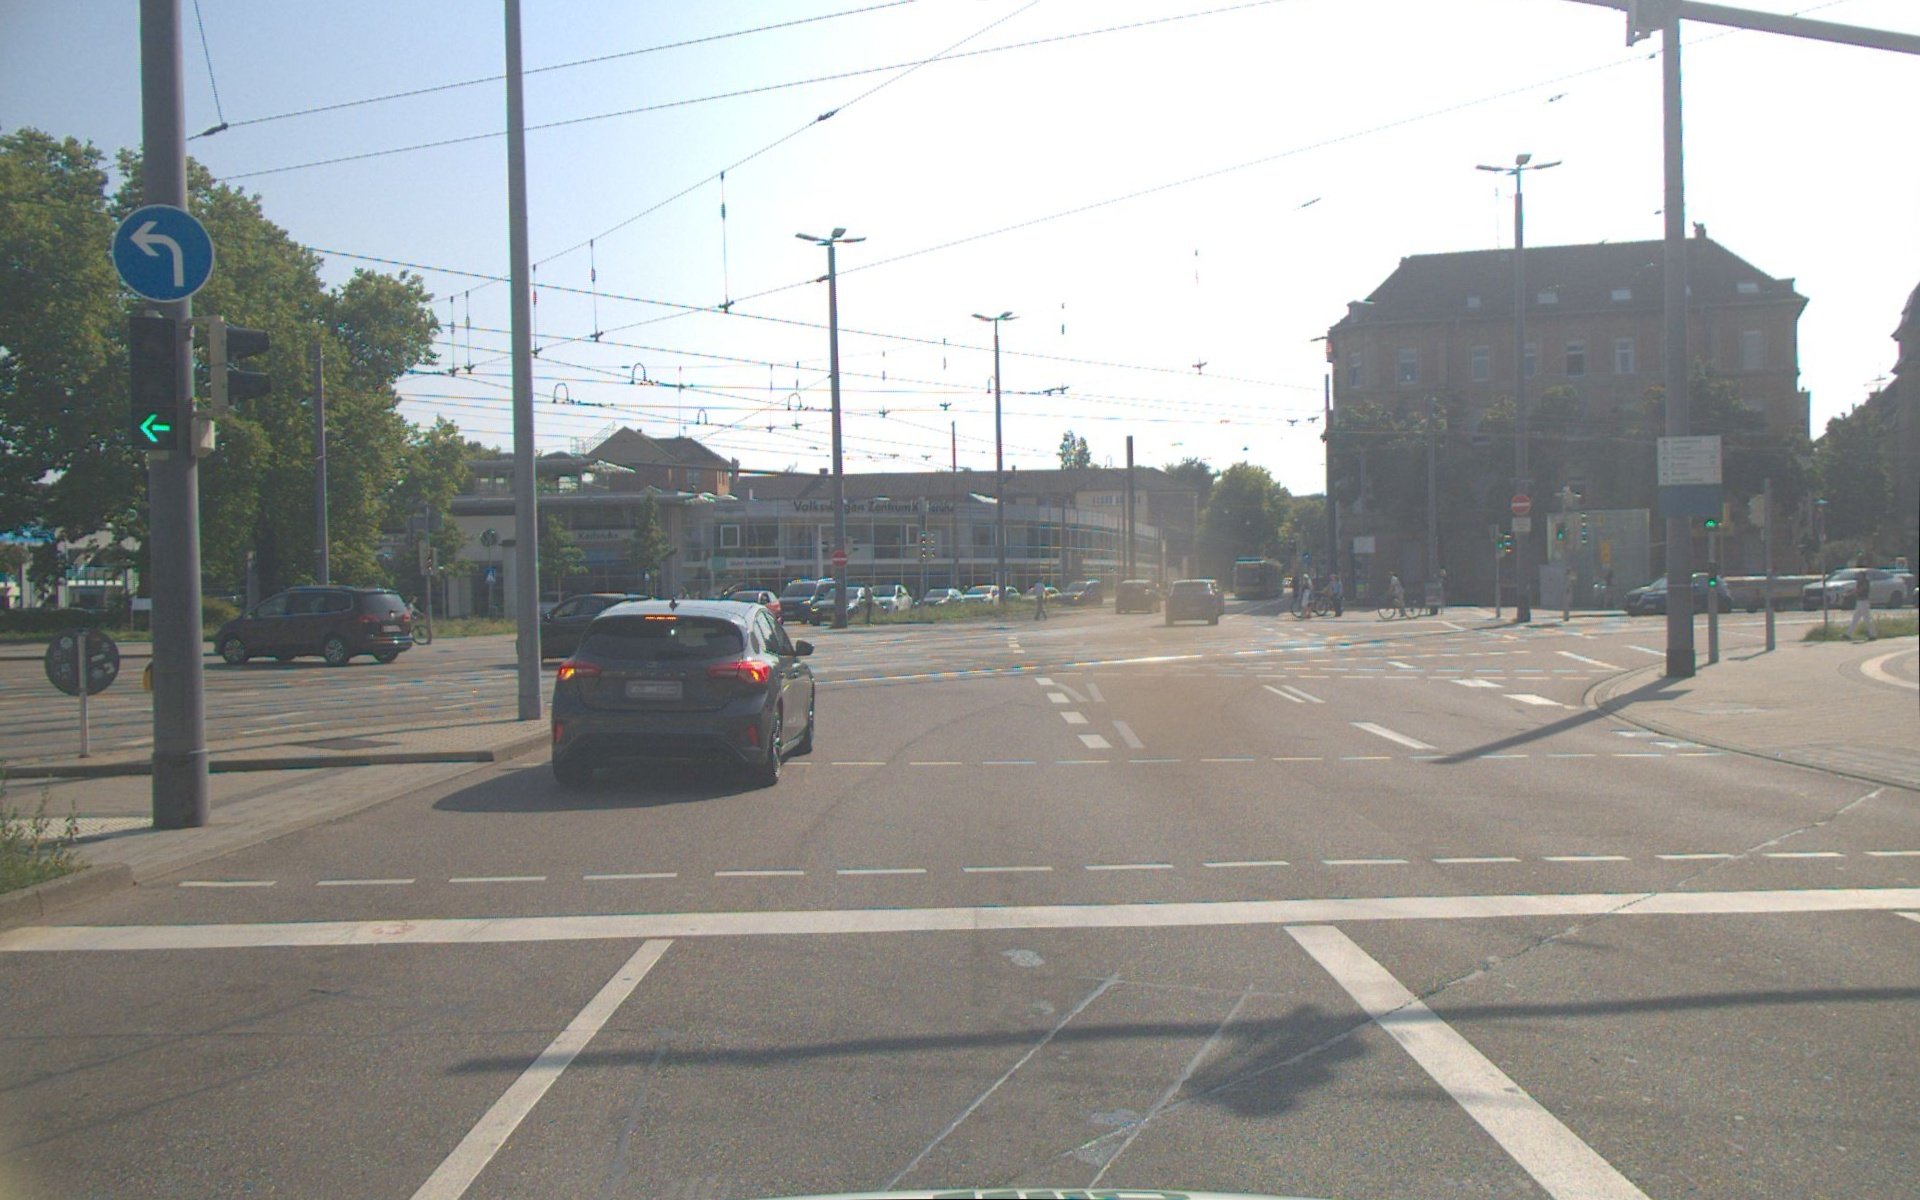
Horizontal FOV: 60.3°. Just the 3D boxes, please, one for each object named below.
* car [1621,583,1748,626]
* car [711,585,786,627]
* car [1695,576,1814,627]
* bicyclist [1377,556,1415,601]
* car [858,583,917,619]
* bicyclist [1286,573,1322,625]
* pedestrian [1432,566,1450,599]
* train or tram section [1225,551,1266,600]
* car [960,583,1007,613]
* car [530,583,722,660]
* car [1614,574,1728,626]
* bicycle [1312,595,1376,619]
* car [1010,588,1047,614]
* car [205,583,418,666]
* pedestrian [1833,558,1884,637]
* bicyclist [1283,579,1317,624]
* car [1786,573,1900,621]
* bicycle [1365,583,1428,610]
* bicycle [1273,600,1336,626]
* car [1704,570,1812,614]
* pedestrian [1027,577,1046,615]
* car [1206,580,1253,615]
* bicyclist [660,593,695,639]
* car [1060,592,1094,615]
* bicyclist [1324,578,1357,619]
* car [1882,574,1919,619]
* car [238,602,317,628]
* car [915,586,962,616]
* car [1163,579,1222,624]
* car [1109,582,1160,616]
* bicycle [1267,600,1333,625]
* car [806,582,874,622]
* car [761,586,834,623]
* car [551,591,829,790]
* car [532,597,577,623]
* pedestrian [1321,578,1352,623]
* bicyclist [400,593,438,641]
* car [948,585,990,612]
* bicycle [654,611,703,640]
[{"bbox_3d":[25.751,0.149,58.783,4.328,1.421,2.003,-1,0,-30],"label":"car"},{"bbox_3d":[-8.223,0.215,64.612,1.580,1.501,4.004,-3,0,13],"label":"car"},{"bbox_3d":[31.274,0.045,65.095,4.641,1.891,1.892,-1,0,-28],"label":"car"},{"bbox_3d":[17.053,-0.838,64.675,0.928,1.738,1.077,-1,0,-39],"label":"bicyclist"},{"bbox_3d":[-3.191,0.024,73.374,1.580,1.501,4.004,-3,0,13],"label":"car"},{"bbox_3d":[13.826,-0.032,66.535,0.928,2.059,1.077,-1,0,-39],"label":"bicyclist"},{"bbox_3d":[21.802,-0.783,74.996,0.537,1.496,0.664,-1,0,43],"label":"pedestrian"},{"bbox_3d":[23.134,-1.966,133.605,2.598,3.763,10.599,-1,1,13],"label":"train or tram section"},{"bbox_3d":[1.296,-0.129,88.727,1.580,1.501,4.003,-3,0,14],"label":"car"},{"bbox_3d":[-7.134,0.444,35.106,4.290,1.518,1.680,-1,0,40],"label":"car"},{"bbox_3d":[27.086,-0.023,62.952,4.192,1.891,1.891,-1,0,-30],"label":"car"},{"bbox_3d":[16.373,0.299,70.516,2.586,0.981,1.084,-1,1,-27],"label":"bicycle"},{"bbox_3d":[4.357,0.038,104.826,1.580,1.501,4.003,-3,0,14],"label":"car"},{"bbox_3d":[-14.682,0.549,37.492,4.306,1.744,1.832,-1,1,19],"label":"car"},{"bbox_3d":[19.858,-0.062,36.565,0.904,1.719,0.835,-1,0,35],"label":"pedestrian"},{"bbox_3d":[14.150,0.073,68.841,0.922,1.831,1.084,-1,0,-26],"label":"bicyclist"},{"bbox_3d":[36.007,-0.134,67.423,4.601,1.891,2.025,-1,0,-30],"label":"car"},{"bbox_3d":[17.084,-0.133,64.703,2.602,0.981,1.077,-1,1,-40],"label":"bicycle"},{"bbox_3d":[13.870,0.521,66.563,2.602,0.981,1.077,-1,1,-40],"label":"bicycle"},{"bbox_3d":[35.075,-0.359,72.705,4.199,1.891,1.919,-1,0,-21],"label":"car"},{"bbox_3d":[3.138,-0.175,67.806,0.761,1.529,0.710,-1,0,2],"label":"pedestrian"},{"bbox_3d":[11.907,-0.141,72.912,1.786,1.453,4.416,-1,1,12],"label":"car"},{"bbox_3d":[-10.981,0.616,64.305,0.937,1.779,1.167,-1,0,14],"label":"bicyclist"},{"bbox_3d":[7.938,0.222,112.303,1.580,1.501,4.003,-3,0,14],"label":"car"},{"bbox_3d":[16.199,-0.071,70.421,0.922,1.709,1.084,-1,0,-26],"label":"bicyclist"},{"bbox_3d":[41.647,-0.168,70.854,4.192,1.891,1.891,-1,0,-30],"label":"car"},{"bbox_3d":[-42.575,0.935,103.294,1.667,1.549,4.508,-1,0,29],"label":"car"},{"bbox_3d":[-1.174,0.028,90.672,1.580,1.501,4.003,-3,0,14],"label":"car"},{"bbox_3d":[8.145,0.029,57.612,1.786,1.453,4.416,-1,1,11],"label":"car"},{"bbox_3d":[8.505,-0.054,80.369,1.786,1.562,4.416,-1,1,14],"label":"car"},{"bbox_3d":[14.170,0.501,68.852,2.586,0.981,1.084,-1,1,-27],"label":"bicycle"},{"bbox_3d":[-4.826,0.059,66.957,1.580,1.501,4.004,-3,0,13],"label":"car"},{"bbox_3d":[-7.016,0.179,71.854,1.919,1.501,4.004,-3,0,13],"label":"car"},{"bbox_3d":[-2.193,0.663,14.624,1.795,1.460,4.549,-1,0,-1],"label":"car"},{"bbox_3d":[-25.229,0.582,103.053,1.664,1.549,4.100,-1,0,2],"label":"car"},{"bbox_3d":[15.461,0.023,67.853,0.921,1.828,0.846,-1,0,-43],"label":"pedestrian"},{"bbox_3d":[-17.938,0.562,54.894,1.144,1.554,0.956,-1,0,-16],"label":"bicyclist"},{"bbox_3d":[0.557,-0.102,97.830,1.580,1.501,4.003,-3,0,14],"label":"car"},{"bbox_3d":[-10.953,0.986,64.411,0.937,1.075,2.610,-1,0,14],"label":"bicycle"}]
